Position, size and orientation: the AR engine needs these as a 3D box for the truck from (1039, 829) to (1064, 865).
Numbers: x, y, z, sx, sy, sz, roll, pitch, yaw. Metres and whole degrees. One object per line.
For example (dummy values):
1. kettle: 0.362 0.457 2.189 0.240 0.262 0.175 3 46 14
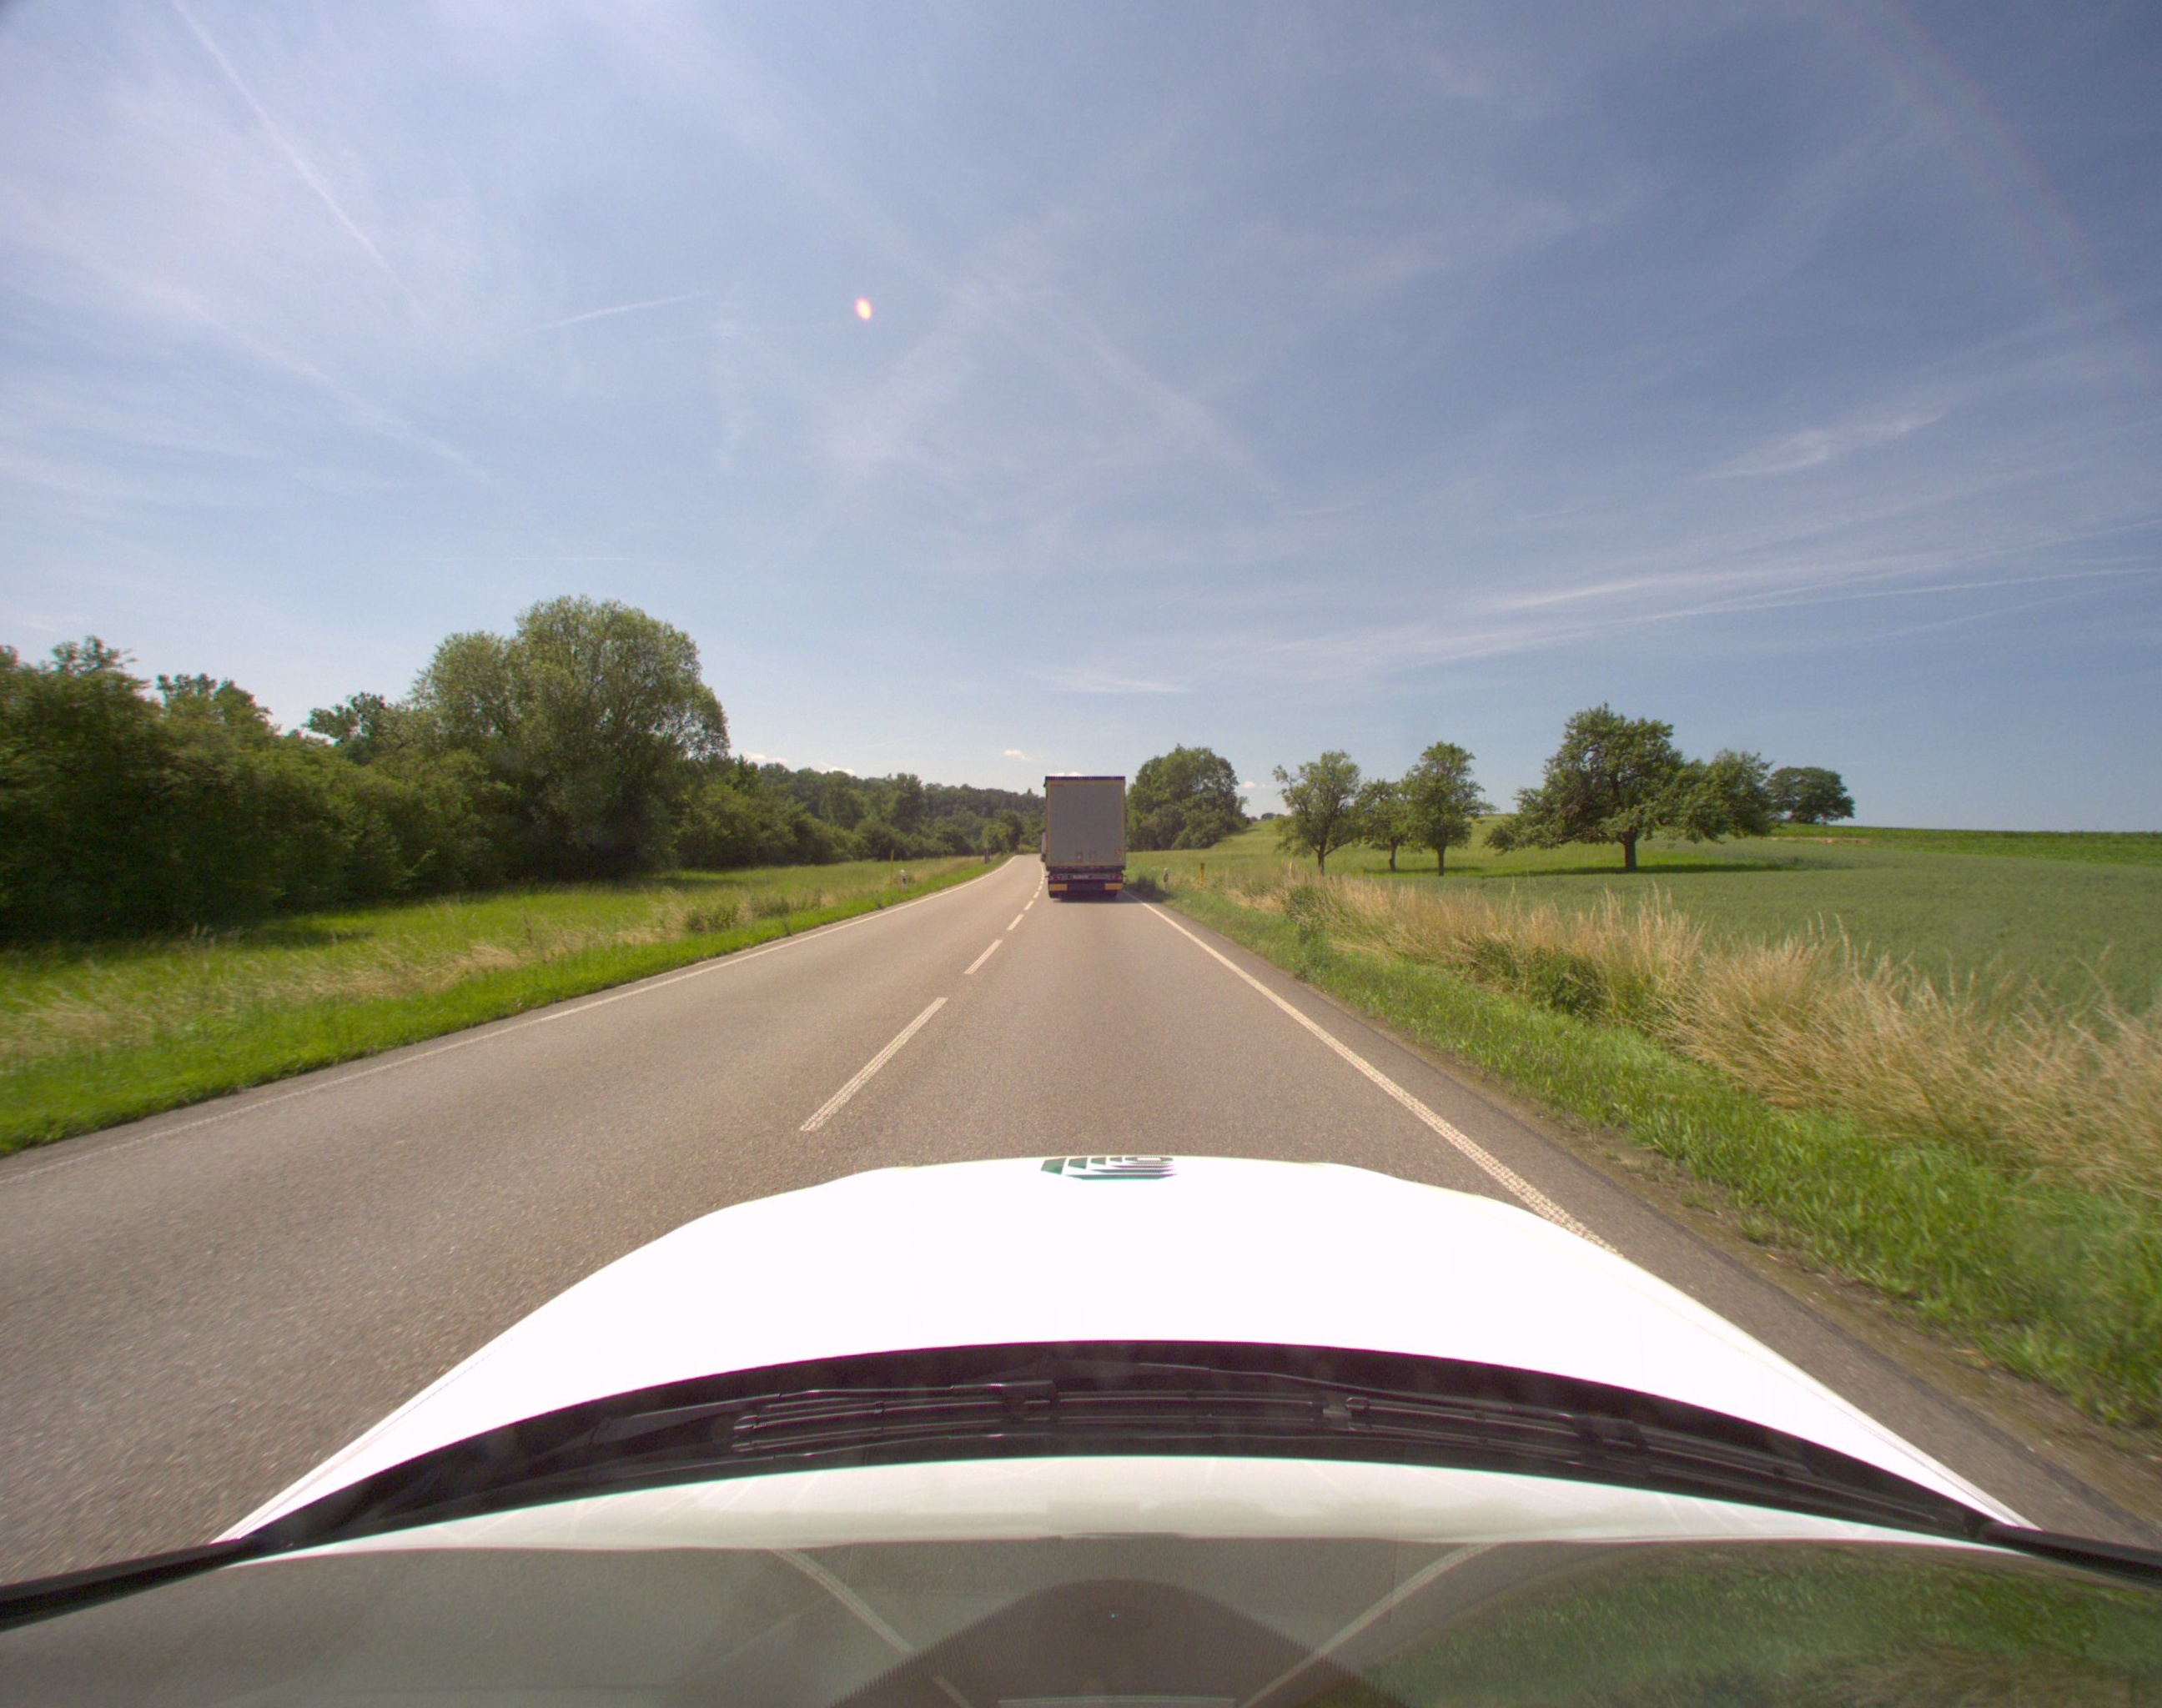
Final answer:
1. truck: -4.261 -0.898 114.385 2.955 4.584 16.295 1 0 -3

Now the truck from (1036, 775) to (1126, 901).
1. truck: -0.100 -0.524 30.452 2.800 3.946 9.585 0 0 -1
